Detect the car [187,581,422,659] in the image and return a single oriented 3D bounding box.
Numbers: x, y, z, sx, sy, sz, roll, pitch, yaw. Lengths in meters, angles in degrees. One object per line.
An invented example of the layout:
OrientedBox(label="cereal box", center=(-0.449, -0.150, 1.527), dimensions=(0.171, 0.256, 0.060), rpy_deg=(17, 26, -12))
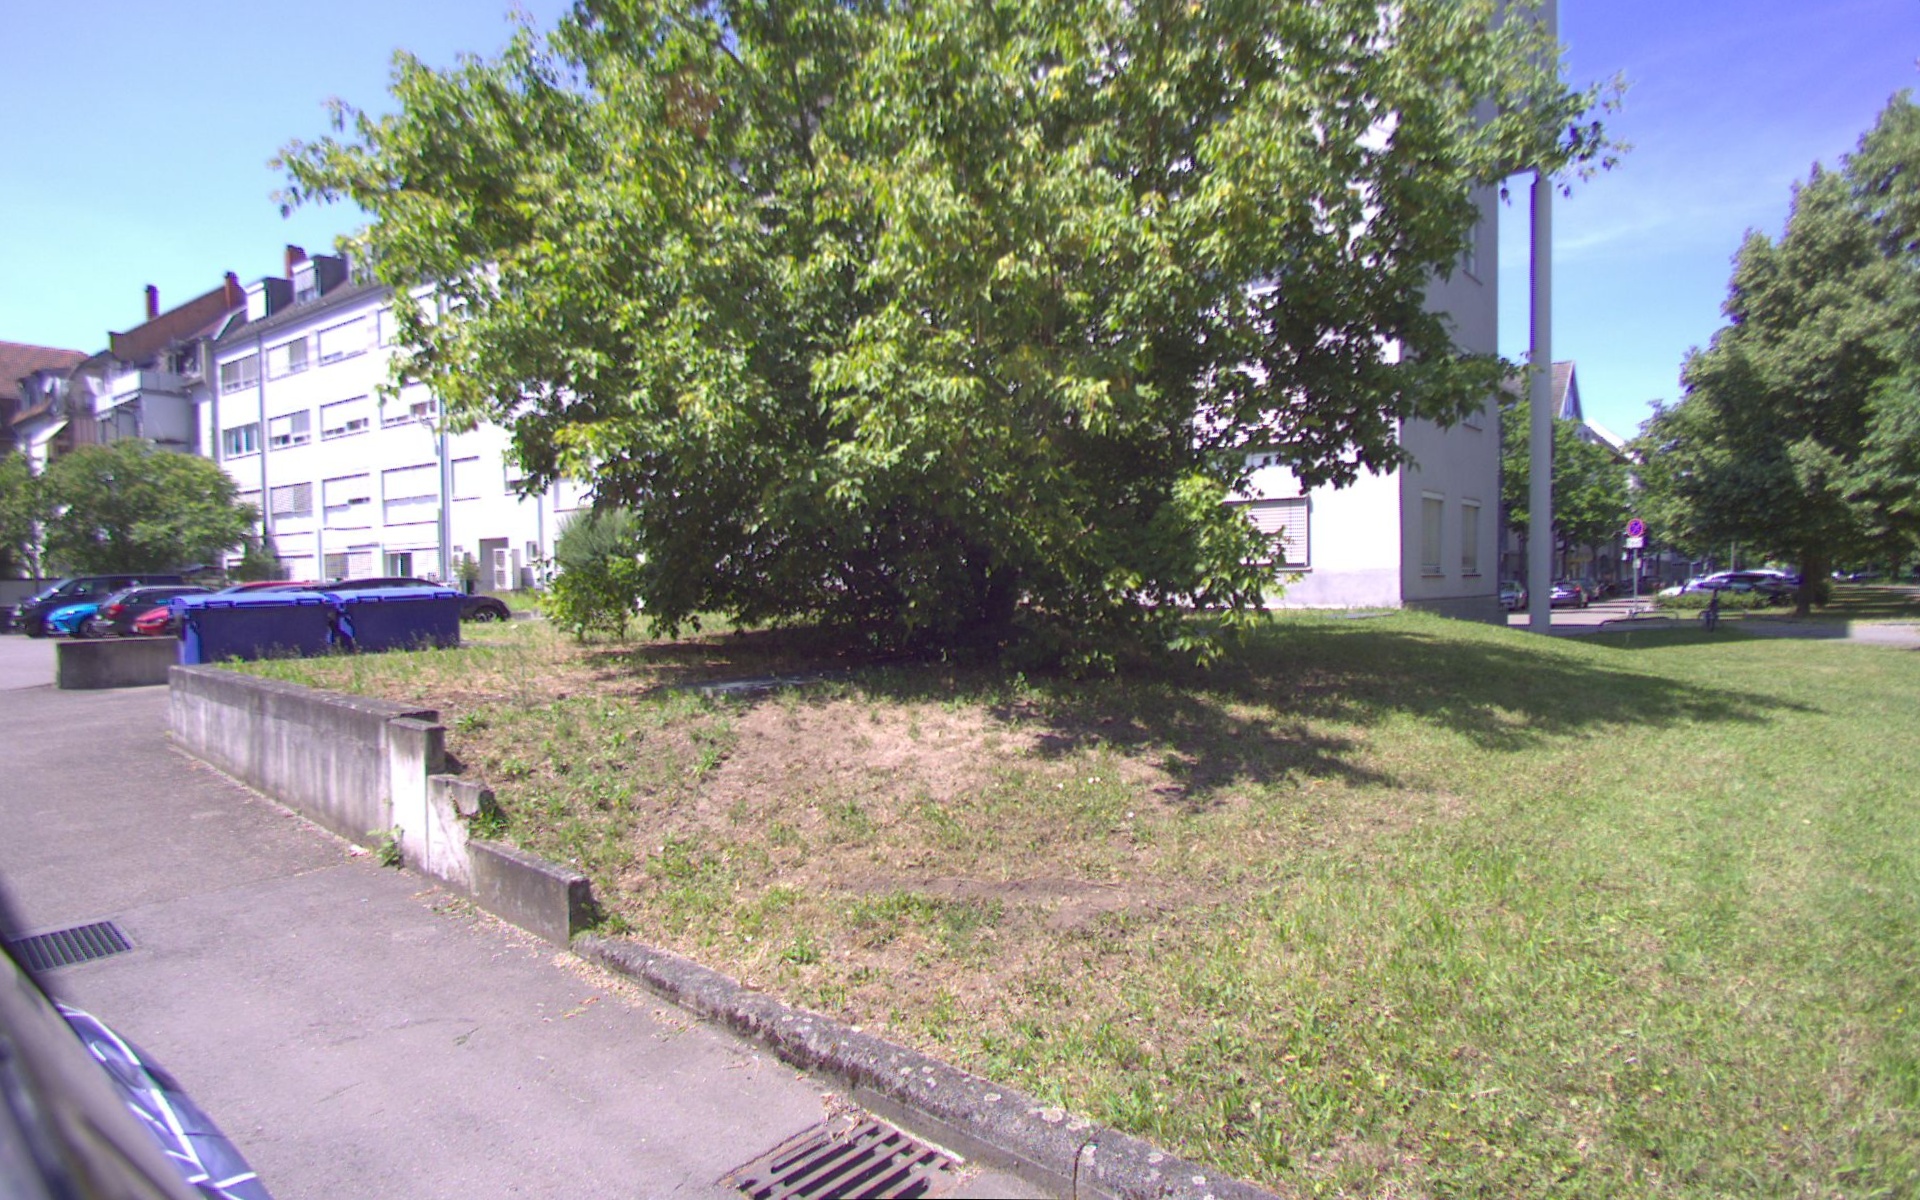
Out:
OrientedBox(label="car", center=(-14.721, 0.363, 22.936), dimensions=(1.610, 1.580, 4.173), rpy_deg=(1, 1, 36))

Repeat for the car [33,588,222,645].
OrientedBox(label="car", center=(-25.158, 0.443, 30.720), dimensions=(1.610, 1.580, 4.173), rpy_deg=(1, 1, 36))

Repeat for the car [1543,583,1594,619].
OrientedBox(label="car", center=(29.348, 0.010, 48.867), dimensions=(1.799, 1.615, 3.859), rpy_deg=(0, 1, 27))

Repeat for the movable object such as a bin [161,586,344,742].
OrientedBox(label="movable object such as a bin", center=(-6.949, 0.565, 9.953), dimensions=(1.095, 1.399, 1.254), rpy_deg=(1, 1, 42))

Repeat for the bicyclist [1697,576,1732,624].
OrientedBox(label="bicyclist", center=(17.080, 0.007, 22.909), dimensions=(0.518, 1.053, 0.515), rpy_deg=(-3, -2, 44))

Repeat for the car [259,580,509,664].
OrientedBox(label="car", center=(-12.199, 0.381, 21.706), dimensions=(1.610, 1.580, 4.392), rpy_deg=(1, 1, 36))

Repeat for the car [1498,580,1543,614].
OrientedBox(label="car", center=(28.098, -0.189, 50.841), dimensions=(1.799, 1.615, 3.859), rpy_deg=(0, 1, 27))

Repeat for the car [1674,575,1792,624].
OrientedBox(label="car", center=(33.438, -0.070, 43.826), dimensions=(3.997, 2.029, 1.973), rpy_deg=(1, 2, 40))

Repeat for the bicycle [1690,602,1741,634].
OrientedBox(label="bicycle", center=(17.078, 0.403, 22.871), dimensions=(0.734, 0.646, 1.594), rpy_deg=(-3, -1, 43))

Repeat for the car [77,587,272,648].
OrientedBox(label="car", center=(-22.489, 0.448, 29.124), dimensions=(1.610, 1.580, 4.173), rpy_deg=(1, 1, 36))

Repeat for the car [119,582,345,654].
OrientedBox(label="car", center=(-17.603, 0.370, 24.664), dimensions=(1.610, 1.580, 4.173), rpy_deg=(1, 1, 36))

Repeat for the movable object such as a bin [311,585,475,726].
OrientedBox(label="movable object such as a bin", center=(-6.119, 0.540, 10.930), dimensions=(1.095, 1.399, 1.254), rpy_deg=(1, 1, 42))

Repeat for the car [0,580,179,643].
OrientedBox(label="car", center=(-27.743, 0.291, 32.227), dimensions=(2.006, 1.837, 4.173), rpy_deg=(1, 1, 36))

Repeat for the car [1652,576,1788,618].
OrientedBox(label="car", center=(30.852, -0.149, 41.139), dimensions=(4.338, 1.622, 1.908), rpy_deg=(1, 2, 40))
